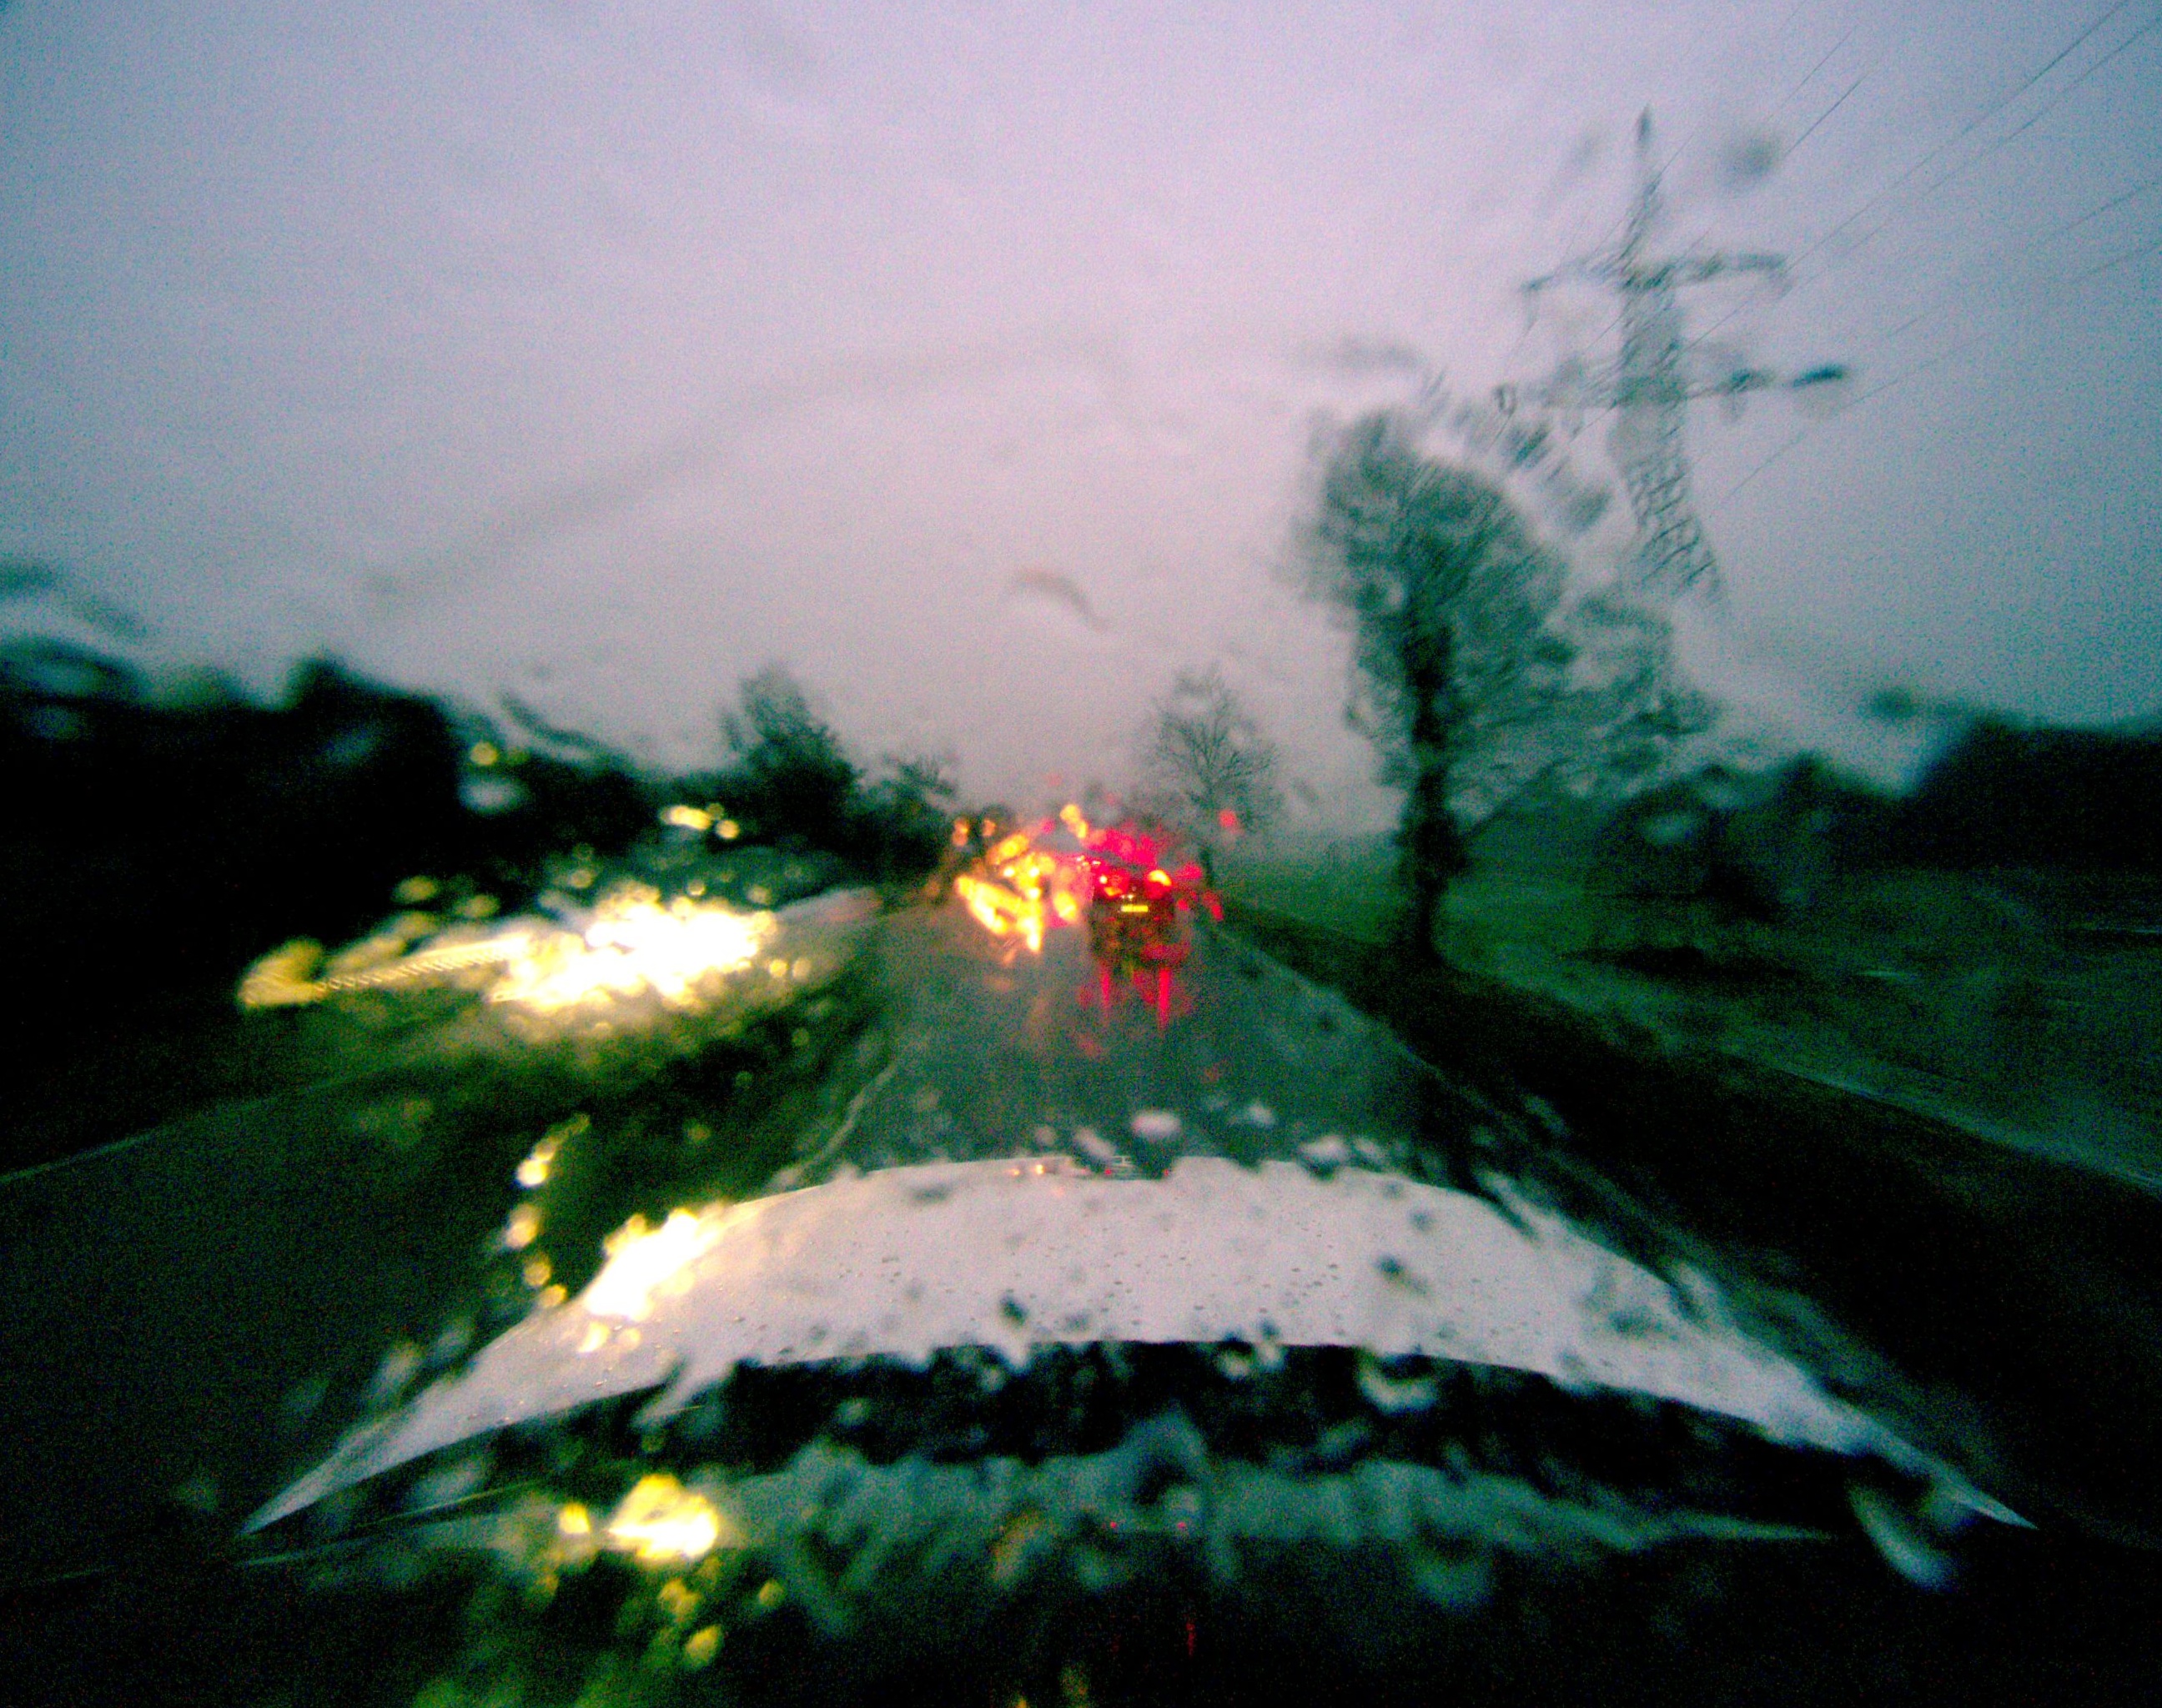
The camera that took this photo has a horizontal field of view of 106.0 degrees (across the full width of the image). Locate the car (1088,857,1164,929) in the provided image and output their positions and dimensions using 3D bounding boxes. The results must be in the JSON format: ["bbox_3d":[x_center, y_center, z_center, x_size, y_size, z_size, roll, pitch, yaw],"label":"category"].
[{"bbox_3d":[1.000,0.775,17.692,1.493,1.398,3.203,0,0,4],"label":"car"}]

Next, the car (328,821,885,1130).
[{"bbox_3d":[-3.174,0.663,6.747,1.856,1.700,4.470,0,0,2],"label":"car"}]

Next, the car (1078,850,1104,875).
[{"bbox_3d":[0.775,0.600,60.256,1.856,1.700,4.470,0,0,2],"label":"car"}]

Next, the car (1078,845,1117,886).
[{"bbox_3d":[0.905,0.568,42.181,1.844,2.013,4.004,0,0,4],"label":"car"}]

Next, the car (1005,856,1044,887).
[{"bbox_3d":[-2.813,0.839,41.354,1.649,1.486,3.670,0,0,1],"label":"car"}]
